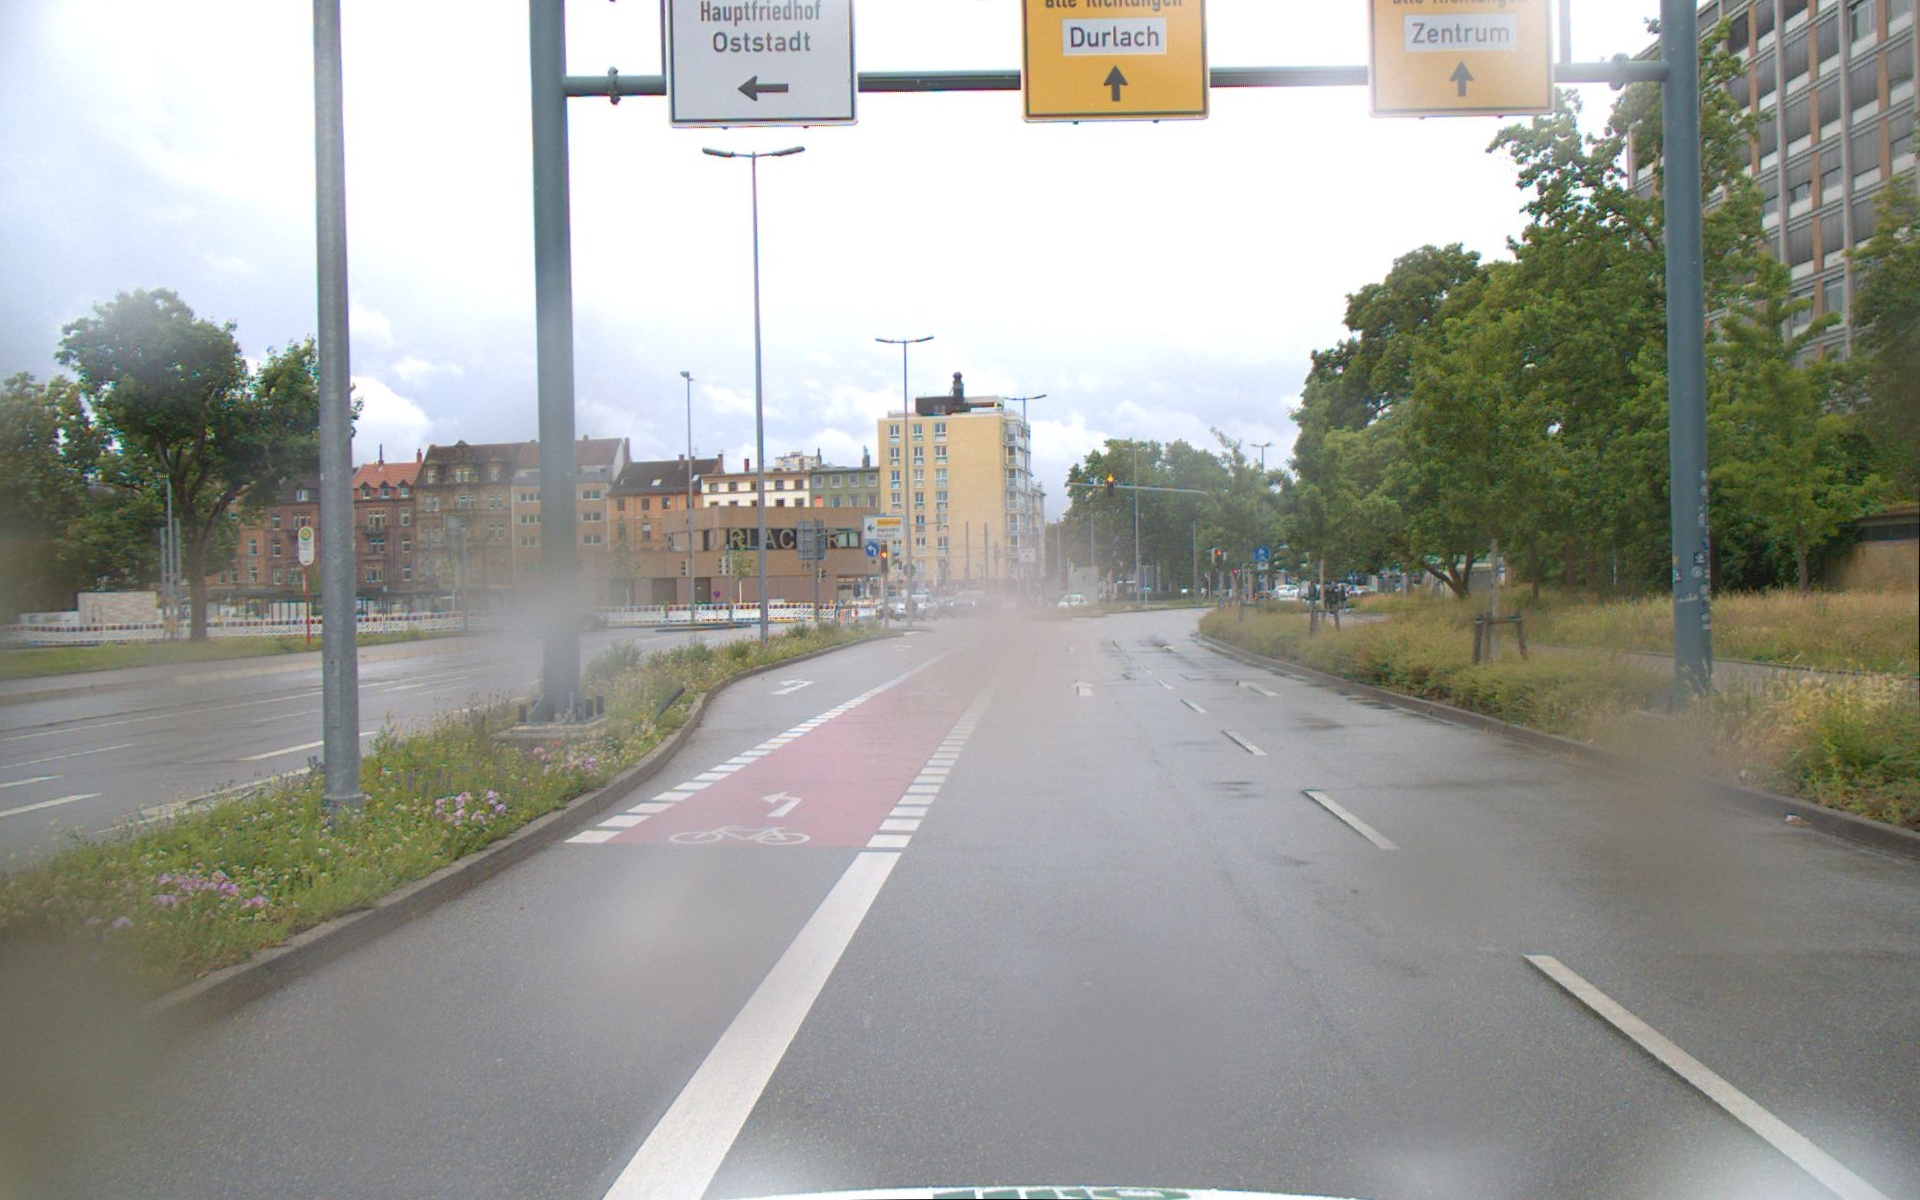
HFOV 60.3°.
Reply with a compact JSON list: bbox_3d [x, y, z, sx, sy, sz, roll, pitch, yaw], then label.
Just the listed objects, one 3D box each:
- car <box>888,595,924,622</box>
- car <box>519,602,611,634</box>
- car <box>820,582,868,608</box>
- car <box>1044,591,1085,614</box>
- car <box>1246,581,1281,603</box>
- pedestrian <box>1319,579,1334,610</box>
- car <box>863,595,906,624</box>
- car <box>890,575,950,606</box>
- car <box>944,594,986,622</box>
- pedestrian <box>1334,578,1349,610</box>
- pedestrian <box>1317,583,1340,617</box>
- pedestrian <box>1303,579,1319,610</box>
[{"bbox_3d":[-3.068,0.468,95.296,1.644,1.429,4.160,-2,0,3],"label":"car"},{"bbox_3d":[-19.310,0.867,80.972,4.106,1.427,1.617,-2,0,-1],"label":"car"},{"bbox_3d":[-13.762,-0.570,196.321,5.236,2.937,2.341,-2,0,8],"label":"car"},{"bbox_3d":[7.656,0.173,121.249,1.646,1.527,3.866,-2,0,25],"label":"car"},{"bbox_3d":[25.185,-0.675,137.093,1.755,1.672,4.155,-1,0,27],"label":"car"},{"bbox_3d":[19.135,-0.287,86.318,0.688,1.615,0.937,-1,0,15],"label":"pedestrian"},{"bbox_3d":[-4.762,0.603,104.352,1.669,1.735,3.823,-1,0,14],"label":"car"},{"bbox_3d":[-4.694,-1.133,194.831,6.598,3.439,2.812,-2,0,8],"label":"car"},{"bbox_3d":[0.348,0.491,106.089,1.951,1.664,4.607,-3,0,8],"label":"car"},{"bbox_3d":[19.856,-0.309,86.042,0.688,1.615,0.937,-1,0,15],"label":"pedestrian"},{"bbox_3d":[18.111,-0.009,81.328,1.001,1.615,0.937,-1,0,15],"label":"pedestrian"},{"bbox_3d":[18.421,-0.288,86.851,0.738,1.615,0.937,-1,0,15],"label":"pedestrian"}]
